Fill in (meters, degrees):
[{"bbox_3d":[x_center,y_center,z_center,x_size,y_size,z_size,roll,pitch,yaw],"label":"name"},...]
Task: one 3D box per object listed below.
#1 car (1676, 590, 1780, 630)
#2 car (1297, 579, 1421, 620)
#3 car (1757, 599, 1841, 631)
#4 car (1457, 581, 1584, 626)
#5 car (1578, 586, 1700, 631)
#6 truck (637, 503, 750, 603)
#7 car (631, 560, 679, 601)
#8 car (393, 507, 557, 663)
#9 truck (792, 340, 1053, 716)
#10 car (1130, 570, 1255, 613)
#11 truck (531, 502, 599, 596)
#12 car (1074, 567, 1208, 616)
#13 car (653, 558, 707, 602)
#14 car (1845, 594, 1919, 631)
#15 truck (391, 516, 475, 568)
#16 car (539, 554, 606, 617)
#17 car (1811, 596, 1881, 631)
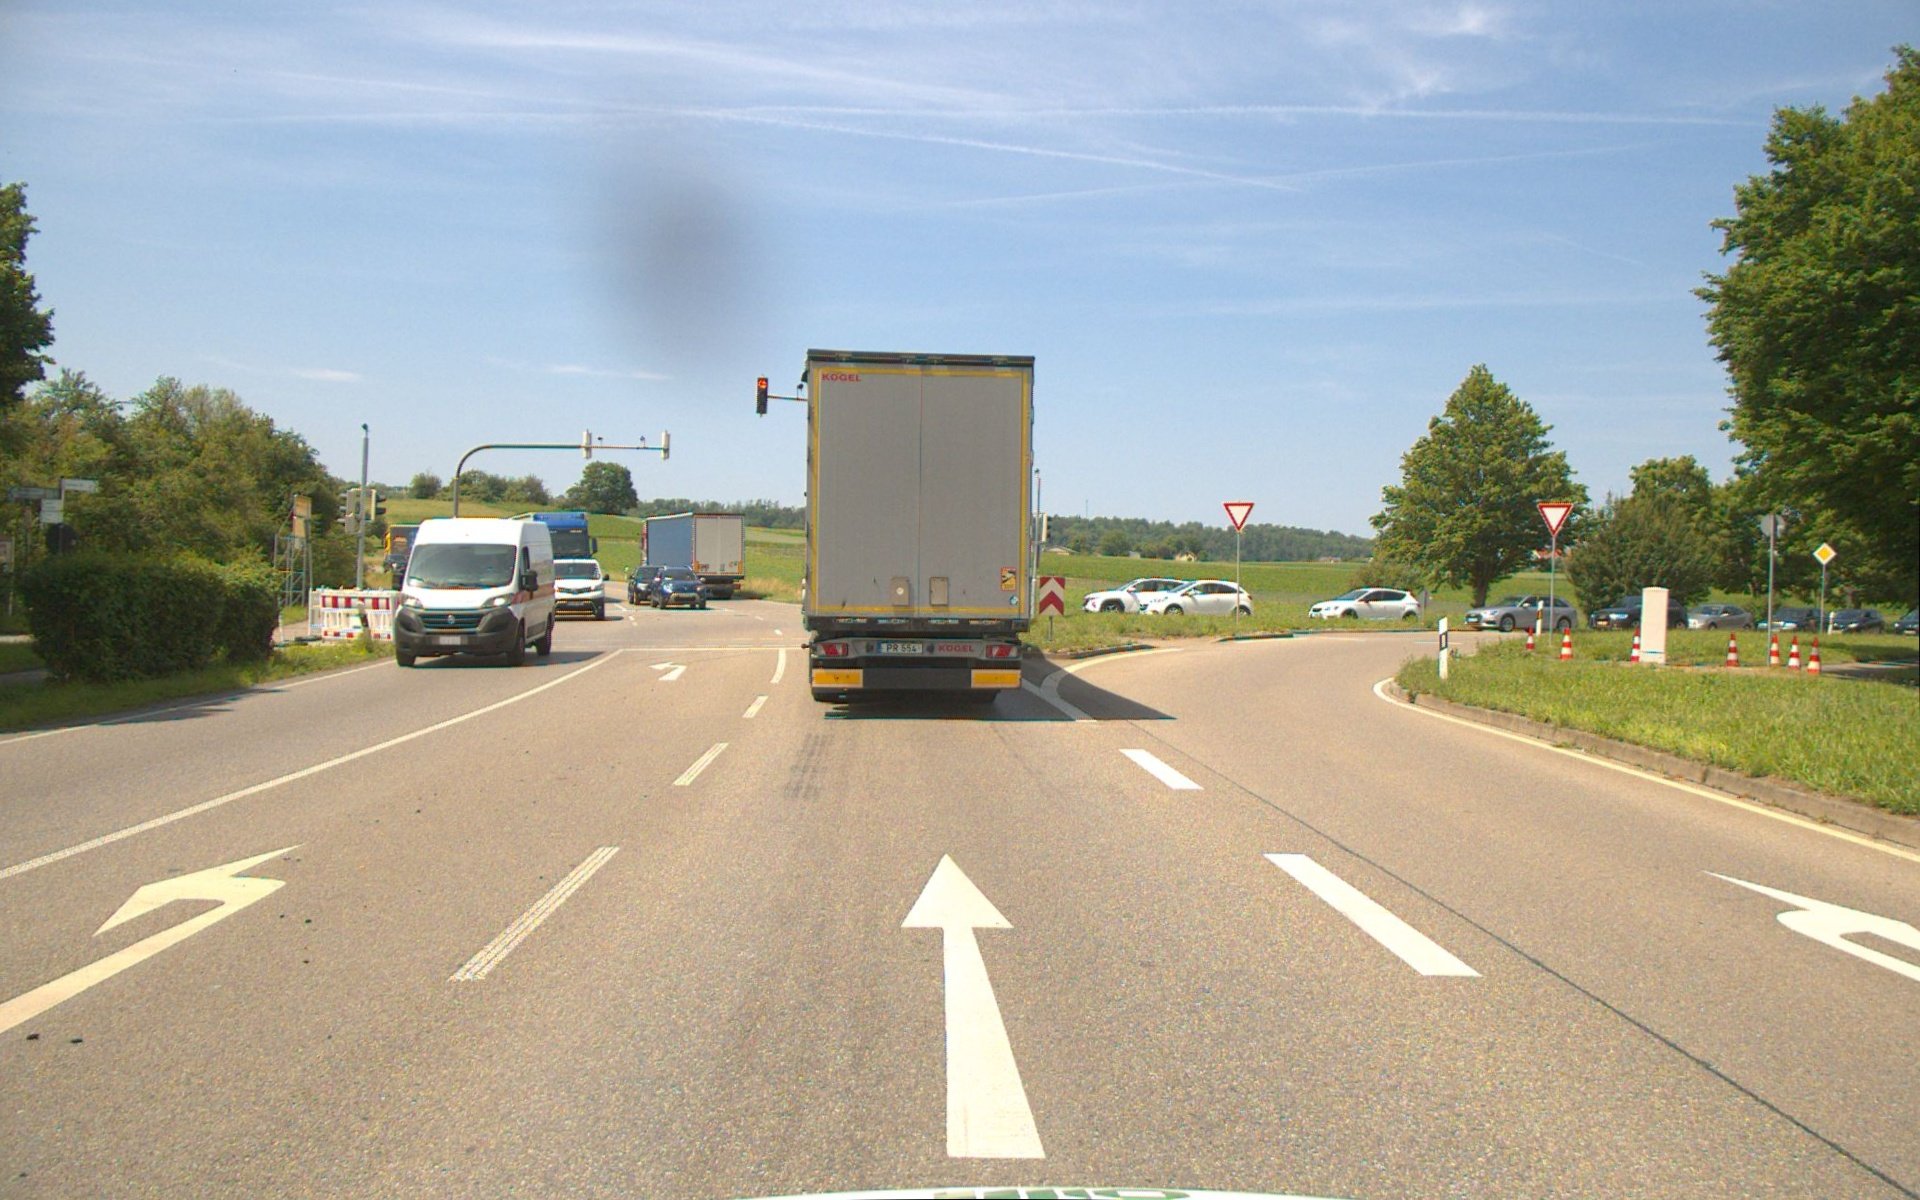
[{"bbox_3d":[31.385,0.419,67.557,4.506,1.536,1.780,1,-1,-34],"label":"car"},{"bbox_3d":[14.300,-0.004,59.301,4.034,1.444,1.789,0,0,-22],"label":"car"},{"bbox_3d":[36.497,0.658,71.900,4.522,1.295,1.774,1,-1,-42],"label":"car"},{"bbox_3d":[20.838,0.133,61.462,4.488,1.536,1.787,2,-1,-25],"label":"car"},{"bbox_3d":[26.214,0.343,63.843,4.488,1.536,1.787,3,-1,-25],"label":"car"},{"bbox_3d":[-14.010,-2.317,85.390,2.917,4.664,16.222,0,1,-20],"label":"truck"},{"bbox_3d":[-13.174,-0.860,71.317,1.741,1.687,3.985,0,1,-15],"label":"car"},{"bbox_3d":[-8.461,-0.307,29.330,2.013,2.494,5.259,-1,1,-8],"label":"car"},{"bbox_3d":[-0.821,-0.839,22.758,2.753,4.015,9.581,1,1,-5],"label":"truck"},{"bbox_3d":[8.004,-0.273,57.043,3.889,1.444,1.823,0,0,-12],"label":"car"},{"bbox_3d":[-18.146,-2.315,75.735,2.527,4.100,6.528,0,2,-18],"label":"truck"},{"bbox_3d":[6.653,-0.303,60.977,4.539,1.635,1.995,2,-1,-8],"label":"car"},{"bbox_3d":[-11.094,-0.787,65.427,1.742,1.687,3.984,0,1,-15],"label":"car"},{"bbox_3d":[44.610,0.623,79.984,4.256,1.727,1.969,1,-1,-43],"label":"car"},{"bbox_3d":[-48.706,-5.226,152.456,3.500,4.315,13.238,1,0,-35],"label":"truck"},{"bbox_3d":[-12.441,-0.488,52.918,1.840,1.919,4.930,-1,1,-16],"label":"car"},{"bbox_3d":[40.915,0.614,76.350,1.771,1.536,4.203,0,-1,44],"label":"car"}]
